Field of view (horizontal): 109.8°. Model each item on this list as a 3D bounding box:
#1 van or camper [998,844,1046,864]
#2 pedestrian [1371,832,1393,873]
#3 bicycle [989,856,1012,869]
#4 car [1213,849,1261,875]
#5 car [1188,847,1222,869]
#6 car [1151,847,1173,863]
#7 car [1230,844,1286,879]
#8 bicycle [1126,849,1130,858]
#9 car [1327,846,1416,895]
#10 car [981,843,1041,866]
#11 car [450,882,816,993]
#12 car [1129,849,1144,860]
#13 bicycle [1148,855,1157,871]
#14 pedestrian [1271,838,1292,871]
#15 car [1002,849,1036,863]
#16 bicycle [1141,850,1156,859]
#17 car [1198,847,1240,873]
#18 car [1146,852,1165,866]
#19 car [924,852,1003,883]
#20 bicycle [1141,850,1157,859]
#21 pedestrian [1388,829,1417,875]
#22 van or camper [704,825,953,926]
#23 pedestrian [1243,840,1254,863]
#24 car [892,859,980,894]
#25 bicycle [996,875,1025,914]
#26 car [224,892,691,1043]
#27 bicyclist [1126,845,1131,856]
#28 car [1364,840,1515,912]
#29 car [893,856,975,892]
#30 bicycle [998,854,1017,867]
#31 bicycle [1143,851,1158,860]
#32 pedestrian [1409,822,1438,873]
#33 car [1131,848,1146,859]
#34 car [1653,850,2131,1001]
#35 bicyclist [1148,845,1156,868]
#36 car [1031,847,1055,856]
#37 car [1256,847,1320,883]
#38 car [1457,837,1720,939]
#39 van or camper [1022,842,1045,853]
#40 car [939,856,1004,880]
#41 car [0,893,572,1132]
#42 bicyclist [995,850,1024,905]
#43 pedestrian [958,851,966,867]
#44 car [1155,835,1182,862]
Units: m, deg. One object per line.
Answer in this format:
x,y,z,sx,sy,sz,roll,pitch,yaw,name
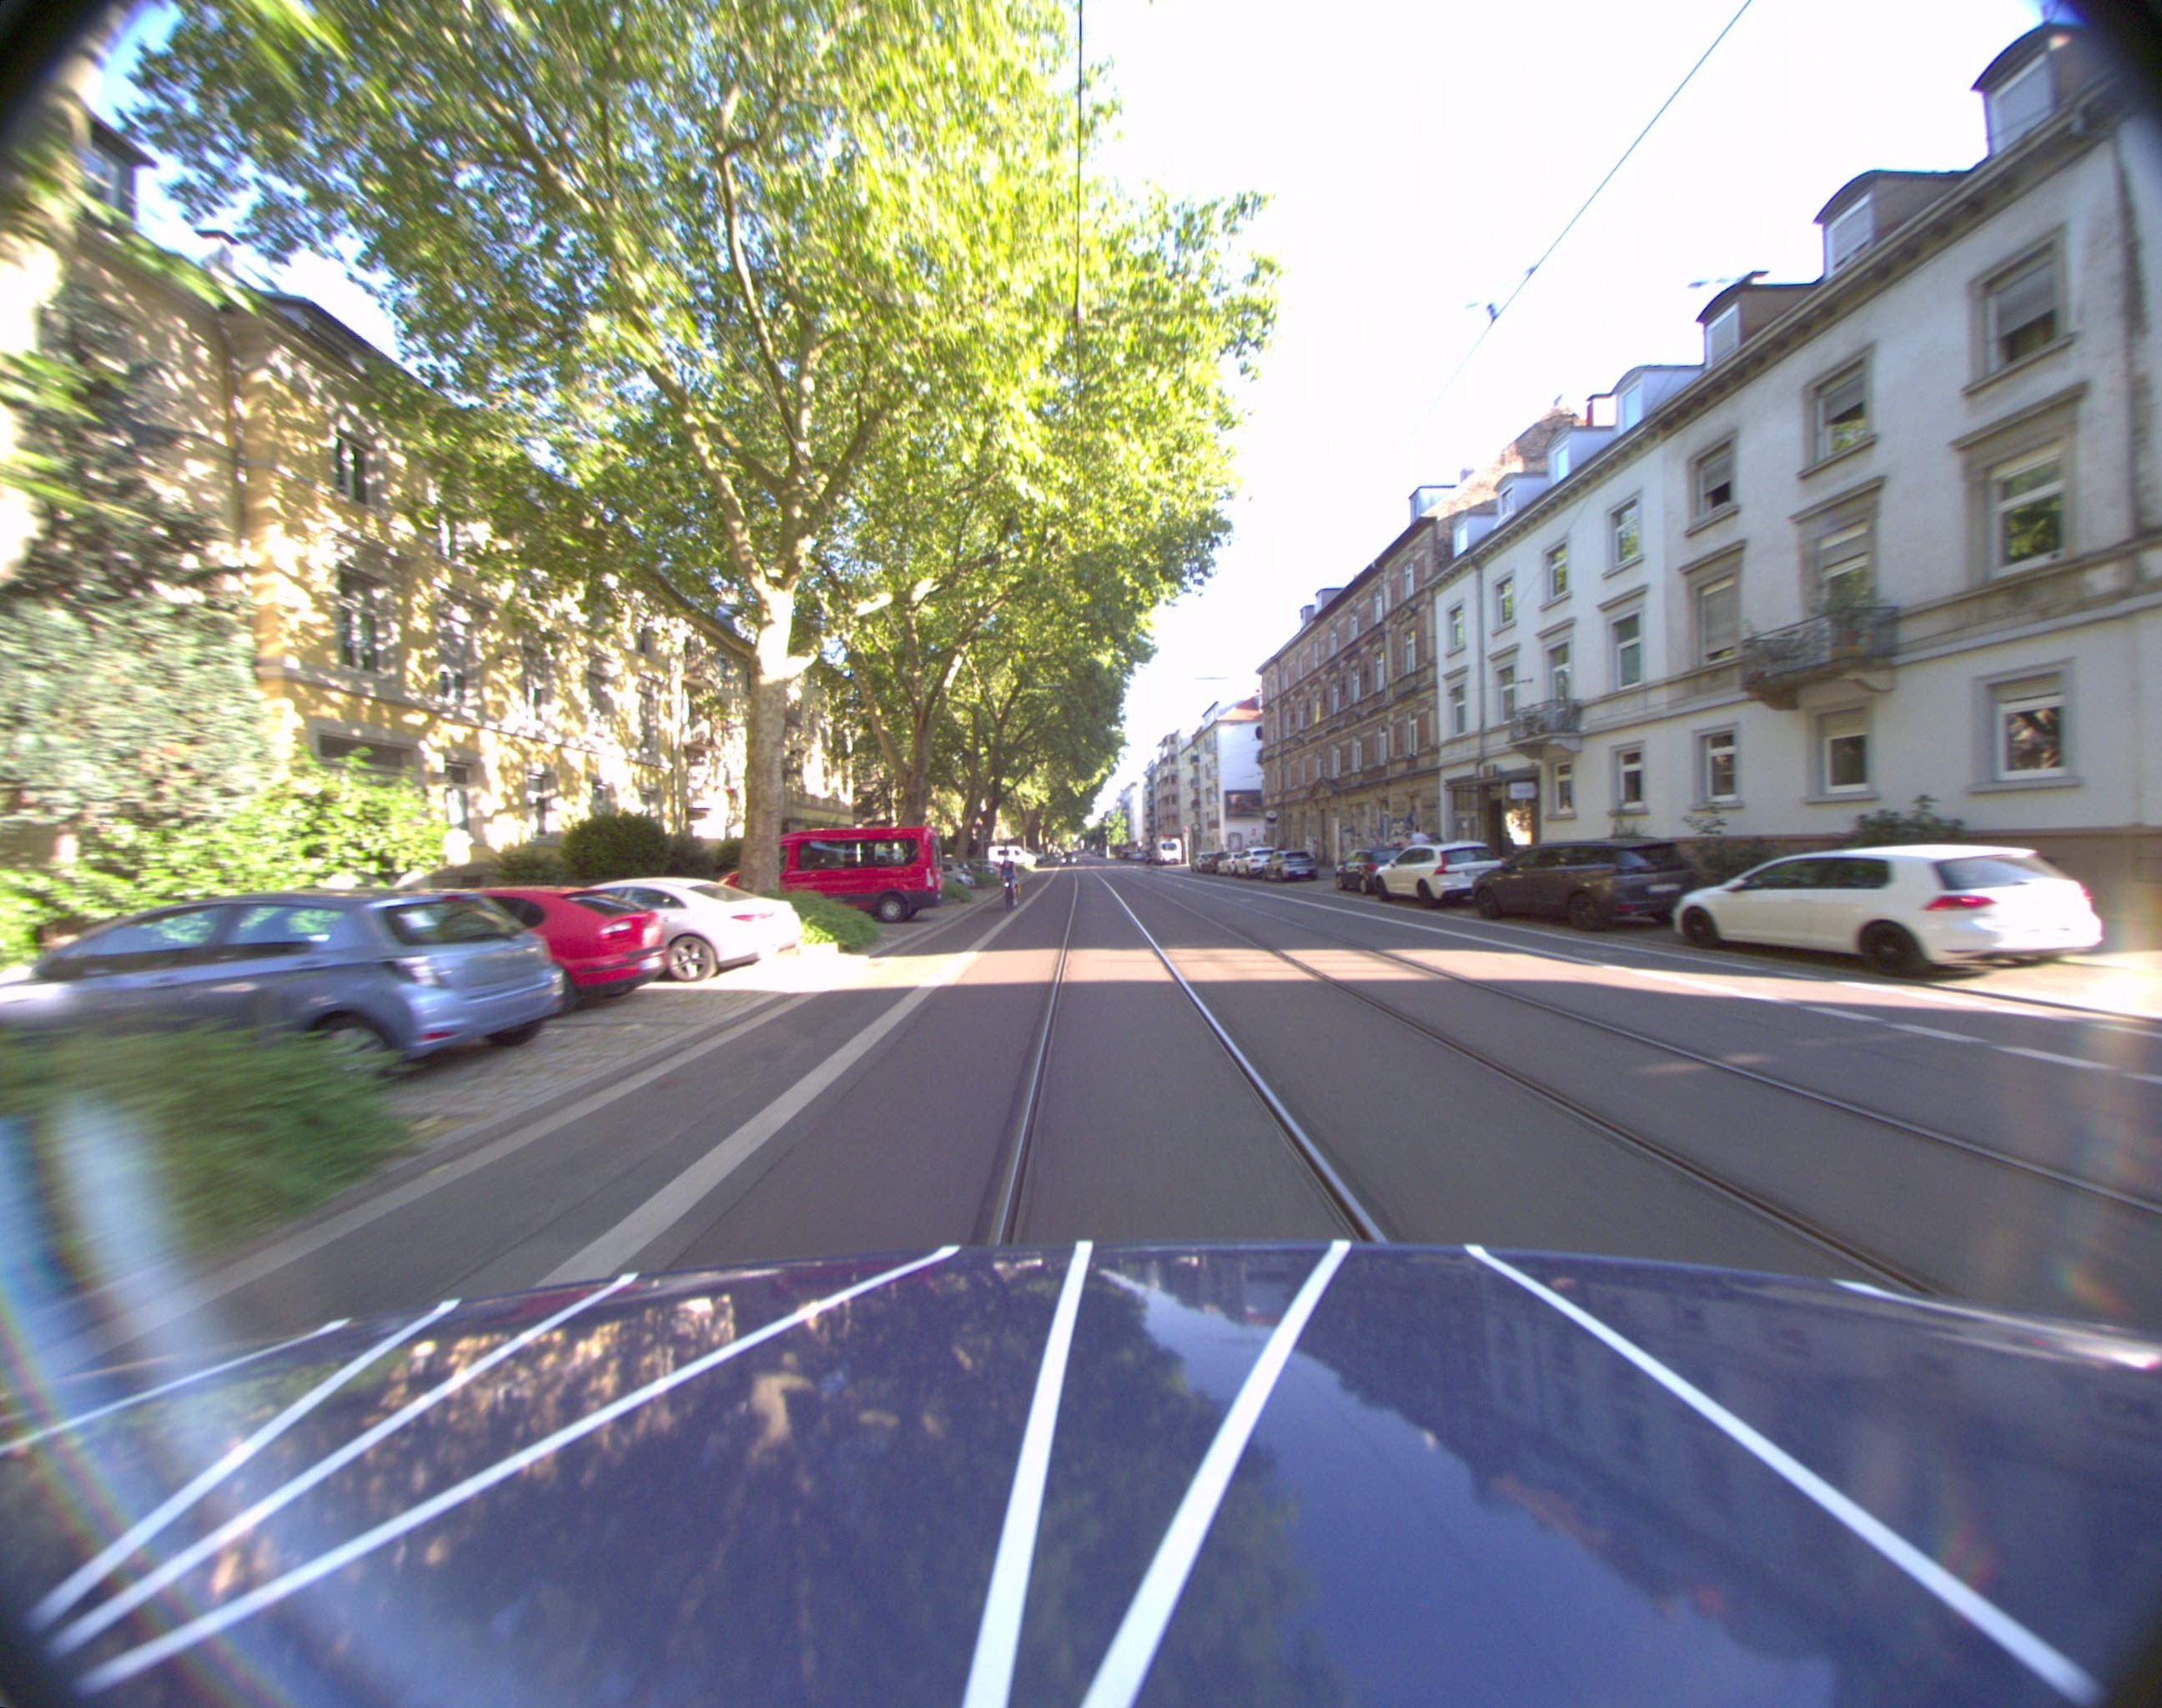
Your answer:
-7.609,-0.043,98.855,6.049,2.476,2.107,-1,1,-2,van or camper
12.539,-0.054,31.608,0.663,1.656,0.770,-2,1,31,pedestrian
-7.550,0.820,71.272,2.046,1.172,0.413,-2,2,8,bicycle
9.428,0.447,46.231,1.704,1.412,3.998,-3,1,-5,car
9.239,0.272,56.883,1.745,1.483,4.044,-3,1,-2,car
8.787,0.089,82.617,1.723,1.622,4.345,-2,1,-2,car
9.481,0.358,41.087,1.791,1.713,4.717,-3,1,-1,car
6.378,-0.069,102.987,0.422,1.144,2.231,-1,1,-2,bicycle
9.676,0.502,25.615,1.558,1.506,3.924,-1,0,2,car
-7.335,0.039,80.245,6.006,2.269,2.006,-2,0,1,car
-6.352,1.157,11.118,4.296,1.409,1.760,0,0,1,car
8.654,0.053,117.918,1.798,1.482,4.239,-2,1,-2,car
5.104,0.617,54.123,0.482,1.079,1.846,-2,1,0,bicycle
11.159,0.016,42.395,0.686,1.790,1.056,-3,1,-10,pedestrian
-7.532,0.253,92.729,3.966,1.646,1.795,-2,1,-4,car
8.871,0.023,100.284,1.935,1.113,0.440,-3,1,6,bicycle
9.312,0.373,51.583,1.745,1.553,4.785,-3,1,-2,car
8.634,0.576,88.285,1.722,1.448,4.571,-2,1,1,car
-6.691,0.773,43.628,4.274,1.709,1.848,1,1,-3,car
8.920,0.027,99.739,1.965,1.113,0.440,-3,1,6,bicycle
13.018,-0.074,30.792,0.762,1.810,0.829,-2,1,-4,pedestrian
-6.471,0.540,20.112,5.831,2.504,2.287,0,0,-3,van or camper
13.013,-0.150,58.986,0.658,1.738,0.893,-3,0,3,pedestrian
-6.495,0.981,34.308,3.604,1.509,1.693,0,1,-1,car
-2.094,1.193,22.916,0.596,0.998,2.510,-5,1,-1,bicycle
-6.761,1.184,8.629,3.763,1.379,1.680,0,1,-6,car
6.424,-0.509,103.050,0.584,1.473,0.807,-1,1,-1,bicyclist
9.547,0.516,20.729,1.861,1.694,4.762,-1,0,0,car
-7.102,0.962,36.894,3.604,1.590,1.540,-2,2,0,car
-7.174,0.649,74.548,2.043,1.172,0.414,-1,2,36,bicycle
8.843,0.137,96.700,1.897,1.032,0.402,-3,1,6,bicycle
13.865,-0.265,30.783,0.761,2.002,0.829,-2,1,-3,pedestrian
8.512,-0.125,112.735,1.694,1.482,4.727,-2,1,0,car
10.035,0.735,10.023,1.691,1.468,4.257,-3,0,-1,car
5.069,0.167,54.007,0.474,1.626,0.800,-2,1,0,bicyclist
-6.665,-0.404,134.170,4.206,1.473,1.911,-1,1,0,car
9.615,0.455,35.595,1.667,1.512,4.063,-3,1,-3,car
9.845,0.569,15.312,1.862,1.694,4.656,-2,0,-6,car
-9.127,-1.251,145.416,4.389,2.098,1.837,-1,1,-4,van or camper
-7.034,0.877,49.079,4.040,1.471,1.680,-1,1,-6,car
-6.507,1.133,6.025,3.761,1.499,1.681,-1,1,0,car
-2.143,0.696,22.804,0.616,1.543,0.935,-7,1,-1,bicyclist
-12.530,0.562,79.930,0.594,1.642,0.707,-3,2,-26,pedestrian
8.837,-0.575,77.295,2.070,2.521,5.666,-2,1,1,car
